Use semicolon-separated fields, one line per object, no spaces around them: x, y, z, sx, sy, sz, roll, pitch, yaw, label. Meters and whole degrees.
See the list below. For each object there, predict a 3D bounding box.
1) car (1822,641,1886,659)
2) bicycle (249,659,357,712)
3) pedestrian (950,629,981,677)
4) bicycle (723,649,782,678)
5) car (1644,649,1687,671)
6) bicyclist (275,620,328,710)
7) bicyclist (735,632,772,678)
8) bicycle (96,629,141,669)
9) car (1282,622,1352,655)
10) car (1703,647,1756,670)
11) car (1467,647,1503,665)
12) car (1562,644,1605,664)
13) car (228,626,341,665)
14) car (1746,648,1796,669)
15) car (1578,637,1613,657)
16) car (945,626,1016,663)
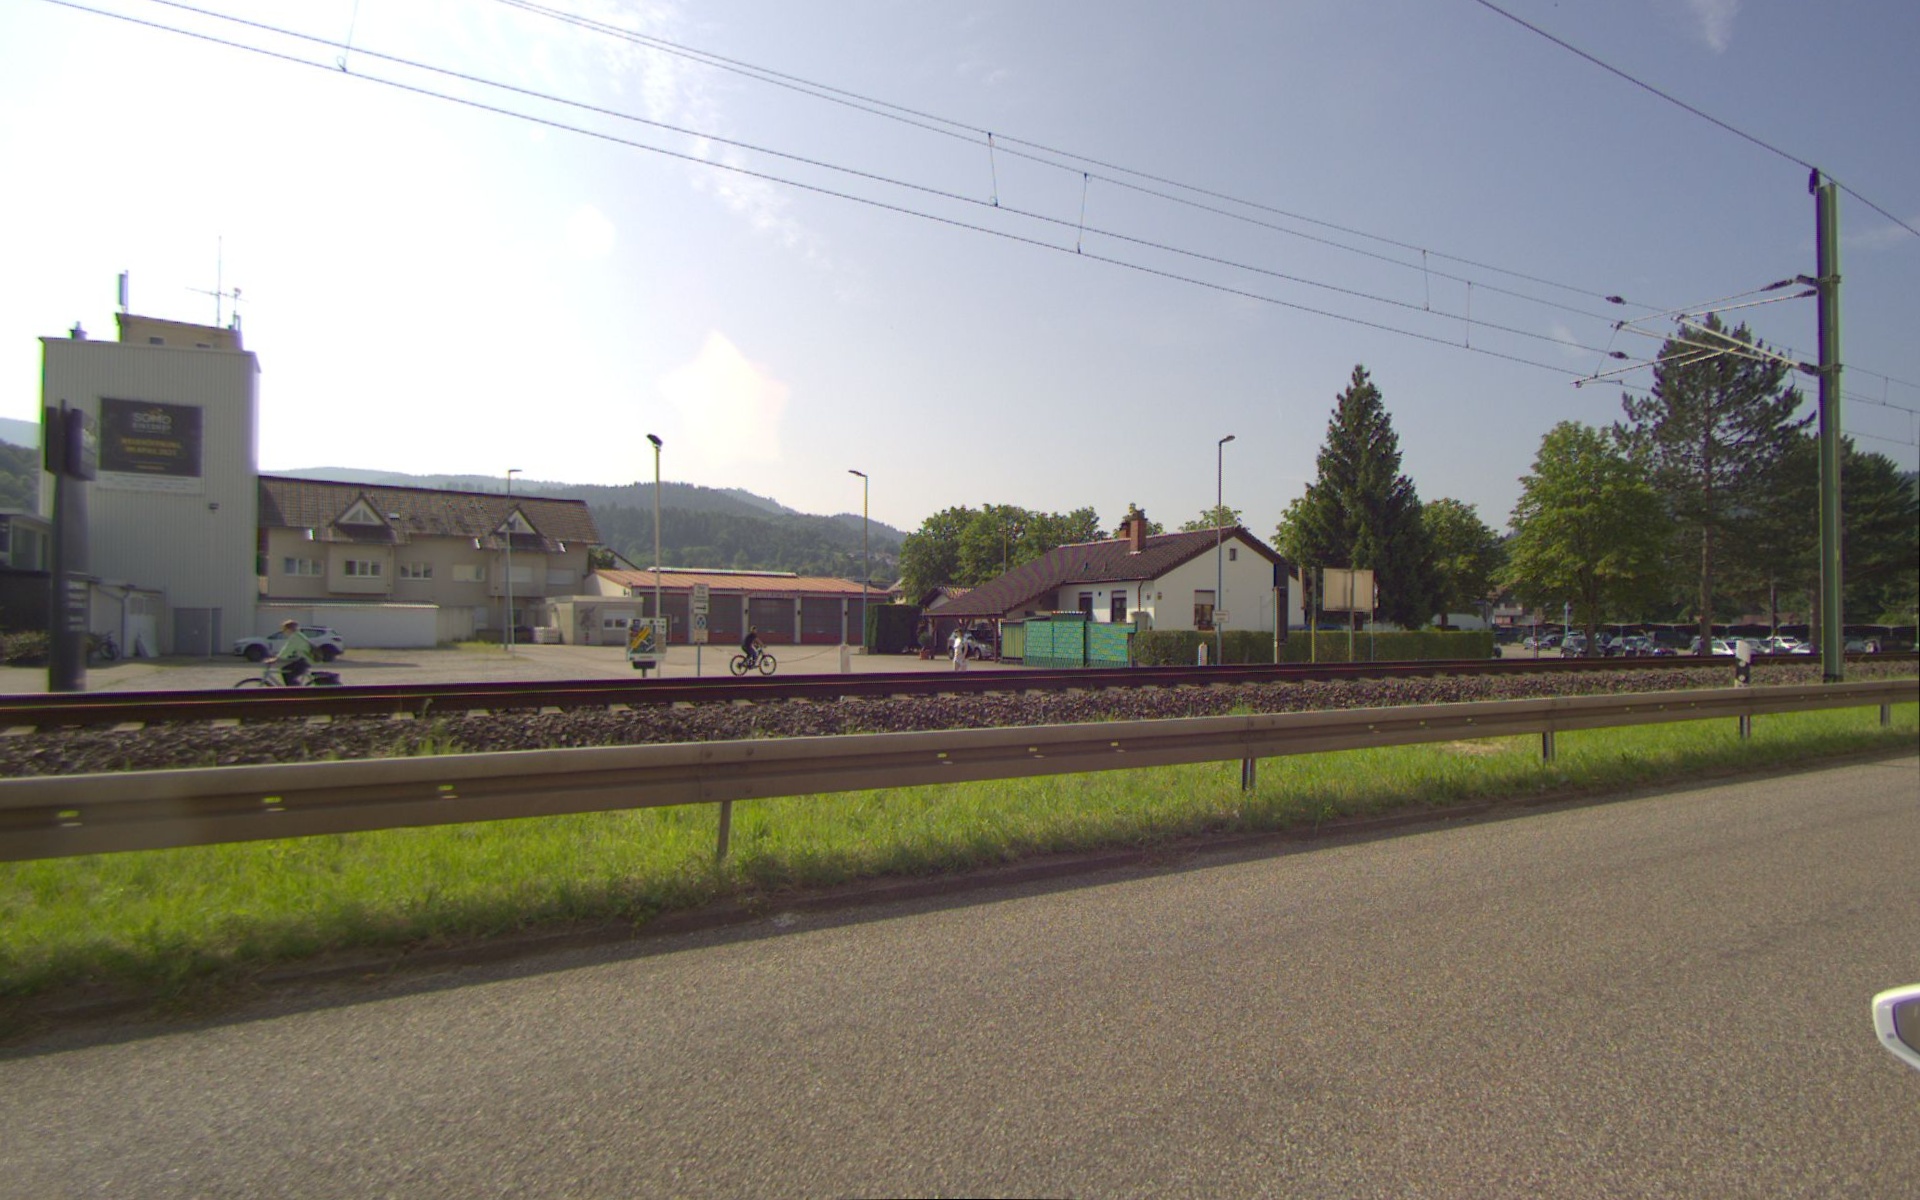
70.100;3.927;78.807;3.450;1.375;1.520;0;-2;16;car
-12.511;1.608;19.180;1.692;0.935;0.542;1;-2;-34;bicycle
0.155;1.480;28.245;0.668;1.349;0.569;1;-2;-37;pedestrian
-7.519;2.290;36.433;1.938;1.030;0.752;1;-2;-29;bicycle
54.818;4.636;78.099;1.654;1.664;3.854;0;-2;18;car
-12.553;1.230;19.160;0.823;1.668;0.529;1;-2;-34;bicyclist
-7.486;1.979;36.462;1.132;1.641;0.742;1;-2;-29;bicyclist
-30.946;1.792;36.979;0.980;1.305;3.411;2;-1;-36;bicycle
15.373;1.680;43.239;2.864;1.370;1.383;2;-2;-33;car
53.272;4.018;69.610;1.654;1.462;3.854;0;-2;18;car
41.667;4.459;79.792;1.654;1.350;3.855;0;-2;14;car
47.322;4.096;76.307;1.654;1.425;3.855;0;-2;13;car
-29.400;1.976;43.851;3.934;1.619;1.703;1;-2;-30;car
62.128;4.442;76.989;1.654;1.526;3.854;0;-2;18;car
55.182;4.083;87.287;1.654;1.664;3.854;0;-2;18;car
0.919;2.104;47.749;1.692;1.673;3.819;1;-2;-29;car
